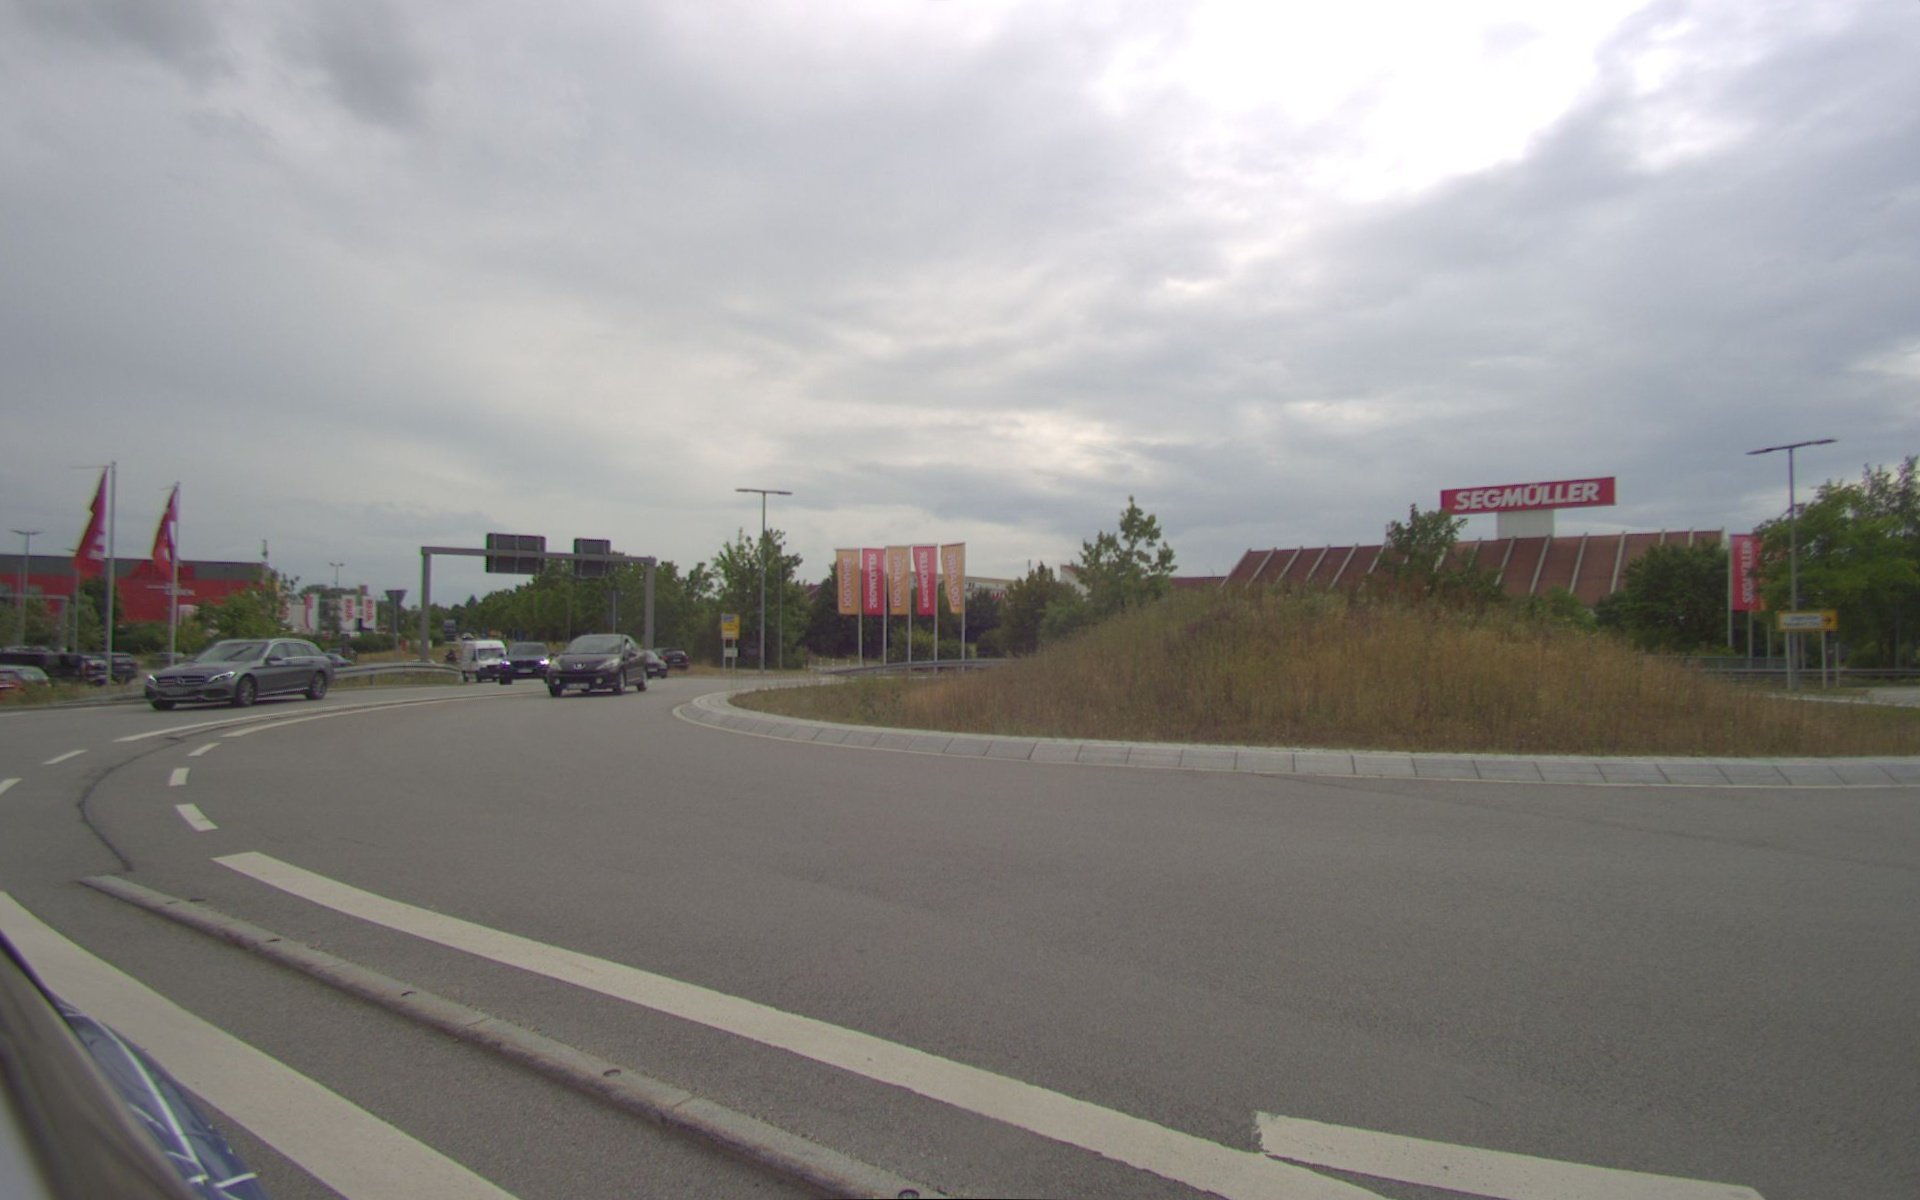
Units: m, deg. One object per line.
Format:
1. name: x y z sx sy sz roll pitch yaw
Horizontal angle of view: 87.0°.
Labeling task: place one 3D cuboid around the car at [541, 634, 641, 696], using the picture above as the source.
1. car: -8.937 1.577 24.775 1.556 1.364 3.830 0 -3 -9

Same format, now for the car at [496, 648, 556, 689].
1. car: -17.083 2.639 39.966 1.829 1.423 4.571 0 -2 -19

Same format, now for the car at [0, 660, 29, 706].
1. car: -36.584 2.970 36.756 4.026 1.591 1.768 1 -2 5

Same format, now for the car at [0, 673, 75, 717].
1. car: -37.810 3.758 40.225 4.031 1.592 1.766 0 -3 9

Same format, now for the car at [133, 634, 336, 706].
1. car: -15.920 1.491 22.501 1.739 1.431 4.093 0 -2 -3

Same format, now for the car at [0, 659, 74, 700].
1. car: -40.186 3.353 42.969 4.034 1.592 1.764 1 -4 12

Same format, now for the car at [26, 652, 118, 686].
1. car: -46.630 3.618 53.181 4.039 1.635 1.642 -3 -4 15

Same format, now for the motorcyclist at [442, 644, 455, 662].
1. motorcyclist: -46.412 4.813 91.818 0.845 1.588 0.666 -4 -5 35

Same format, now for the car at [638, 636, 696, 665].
1. car: -19.220 3.243 66.304 2.071 1.804 5.063 1 -2 -36

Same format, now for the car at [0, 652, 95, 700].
1. car: -41.244 3.413 45.255 4.039 1.922 1.897 -3 -1 15

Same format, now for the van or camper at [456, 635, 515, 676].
1. van or camper: -29.738 3.423 63.310 2.021 2.382 5.550 1 -2 -40

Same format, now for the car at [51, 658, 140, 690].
1. car: -47.651 4.070 55.780 4.039 1.635 1.728 -3 -5 15
